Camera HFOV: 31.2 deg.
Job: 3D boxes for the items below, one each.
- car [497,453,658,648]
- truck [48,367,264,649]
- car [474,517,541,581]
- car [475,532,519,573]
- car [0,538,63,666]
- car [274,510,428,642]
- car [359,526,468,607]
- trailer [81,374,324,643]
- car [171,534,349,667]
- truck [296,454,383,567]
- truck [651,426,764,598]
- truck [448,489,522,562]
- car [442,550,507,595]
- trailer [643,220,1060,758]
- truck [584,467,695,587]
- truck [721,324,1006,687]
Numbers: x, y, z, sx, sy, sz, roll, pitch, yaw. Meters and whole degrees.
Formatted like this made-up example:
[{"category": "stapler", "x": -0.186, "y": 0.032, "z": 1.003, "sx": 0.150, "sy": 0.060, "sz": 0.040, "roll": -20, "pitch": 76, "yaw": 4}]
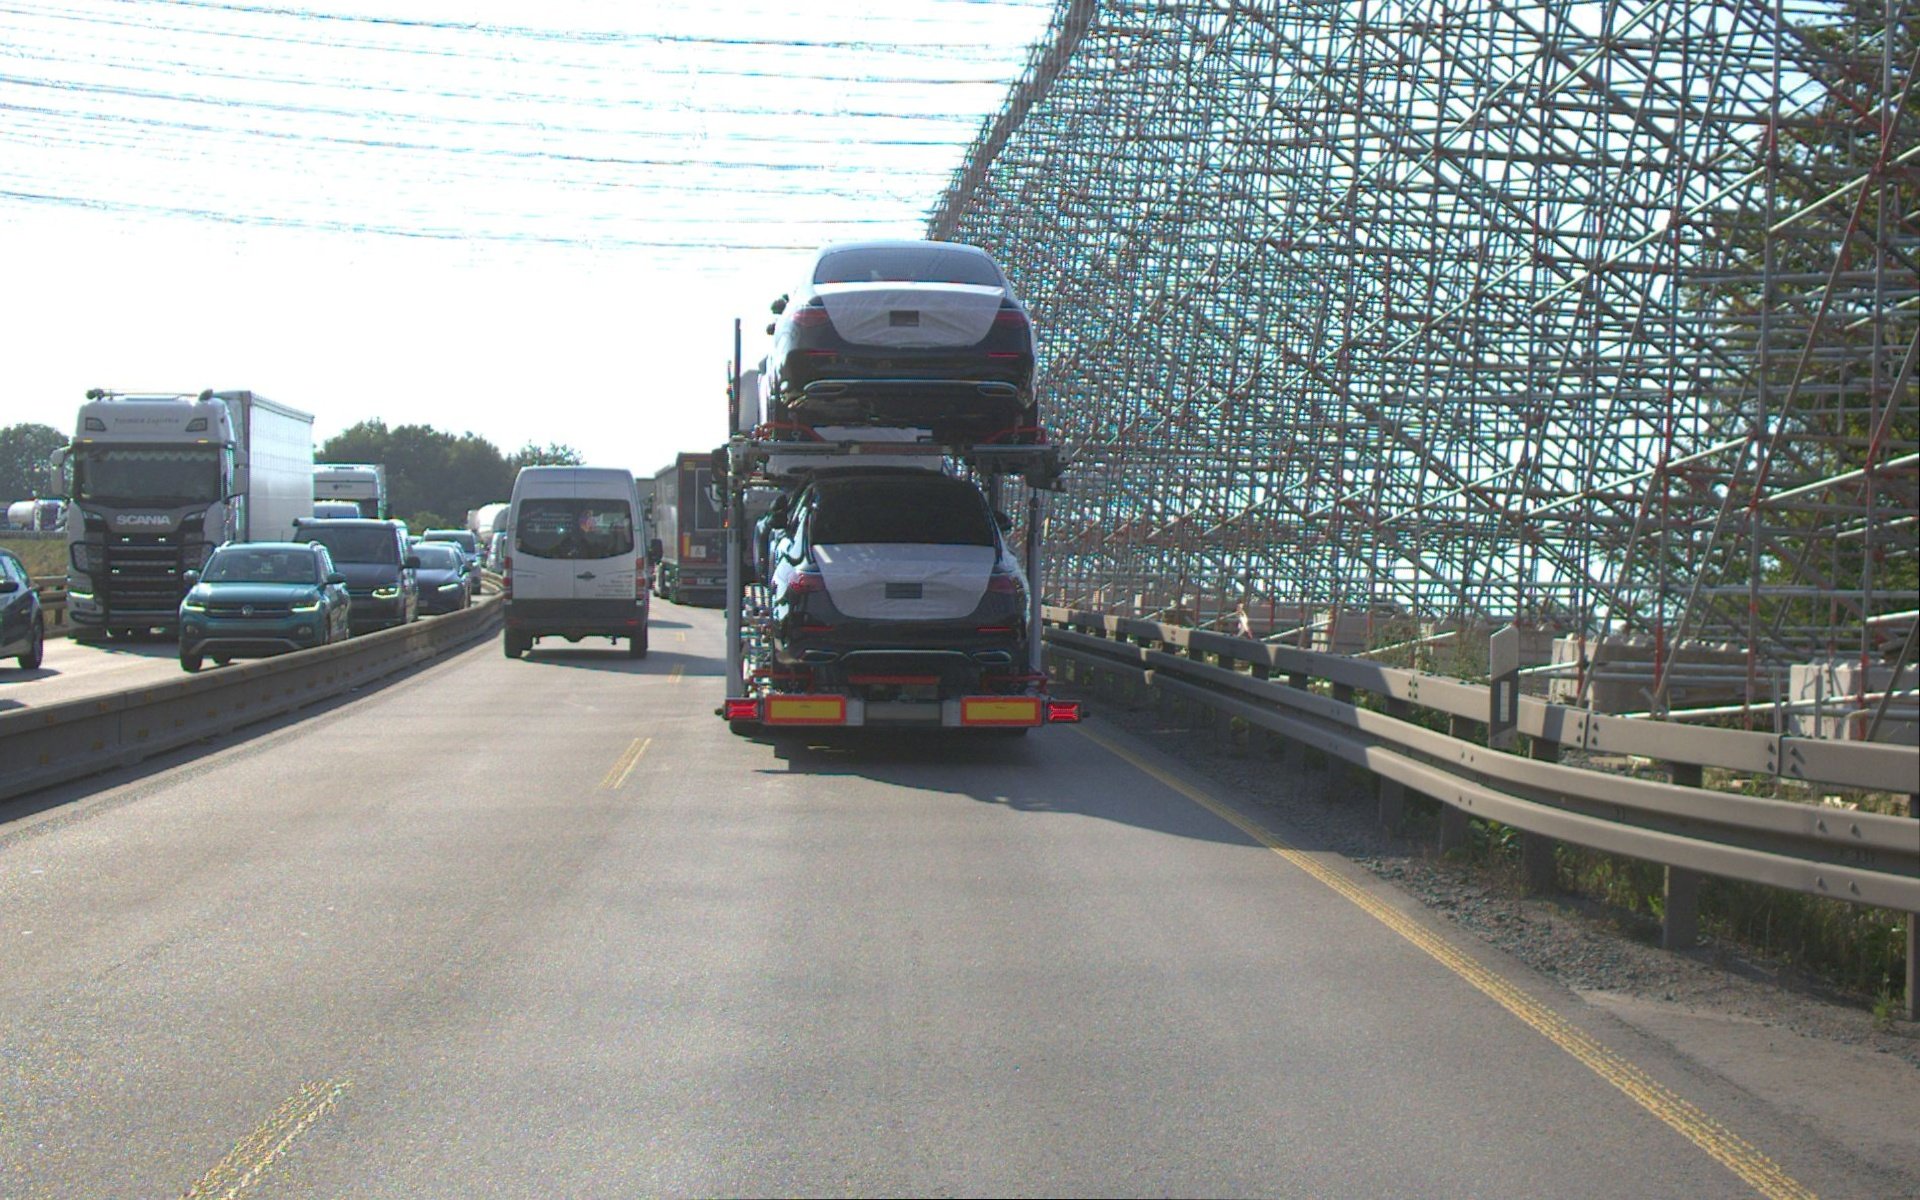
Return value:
[{"category": "car", "x": -5.406, "y": -0.667, "z": 48.187, "sx": 1.956, "sy": 2.612, "sz": 4.001, "roll": 0, "pitch": 0, "yaw": -10}, {"category": "truck", "x": -12.709, "y": -1.419, "z": 54.761, "sx": 2.662, "sy": 4.215, "sz": 6.106, "roll": 0, "pitch": 1, "yaw": -7}, {"category": "car", "x": -13.988, "y": -1.591, "z": 106.439, "sx": 1.836, "sy": 1.887, "sz": 4.001, "roll": 2, "pitch": 1, "yaw": -5}, {"category": "car", "x": -18.566, "y": -1.898, "z": 137.888, "sx": 1.710, "sy": 1.612, "sz": 3.504, "roll": 0, "pitch": 0, "yaw": -8}, {"category": "car", "x": -11.847, "y": -0.014, "z": 40.403, "sx": 1.721, "sy": 1.442, "sz": 4.139, "roll": 2, "pitch": 1, "yaw": -3}, {"category": "car", "x": -9.502, "y": -0.396, "z": 53.958, "sx": 1.874, "sy": 1.928, "sz": 4.862, "roll": 2, "pitch": 1, "yaw": -5}, {"category": "car", "x": -10.868, "y": -0.684, "z": 68.623, "sx": 1.784, "sy": 1.497, "sz": 4.755, "roll": 2, "pitch": 1, "yaw": -5}, {"category": "trailer", "x": -13.410, "y": -1.594, "z": 61.989, "sx": 2.653, "sy": 4.219, "sz": 13.923, "roll": 2, "pitch": 1, "yaw": -6}, {"category": "car", "x": -8.676, "y": -0.027, "z": 42.899, "sx": 1.742, "sy": 1.529, "sz": 4.268, "roll": 1, "pitch": 1, "yaw": -6}, {"category": "truck", "x": -20.559, "y": -2.940, "z": 113.900, "sx": 2.594, "sy": 3.461, "sz": 12.396, "roll": 2, "pitch": 1, "yaw": -10}, {"category": "truck", "x": -7.057, "y": -2.394, "z": 94.793, "sx": 2.731, "sy": 4.370, "sz": 11.524, "roll": 1, "pitch": 1, "yaw": -6}, {"category": "truck", "x": -25.330, "y": -3.951, "z": 182.902, "sx": 2.615, "sy": 3.711, "sz": 9.662, "roll": 2, "pitch": 1, "yaw": -15}, {"category": "car", "x": -16.588, "y": -0.950, "z": 117.359, "sx": 1.836, "sy": 1.448, "sz": 4.001, "roll": 2, "pitch": 1, "yaw": -13}, {"category": "trailer", "x": -0.915, "y": -0.829, "z": 31.393, "sx": 2.869, "sy": 3.712, "sz": 14.948, "roll": 1, "pitch": 0, "yaw": -1}, {"category": "truck", "x": -12.127, "y": -2.773, "z": 131.412, "sx": 3.686, "sy": 4.206, "sz": 13.670, "roll": -2, "pitch": 1, "yaw": -4}, {"category": "truck", "x": -1.084, "y": -0.993, "z": 38.875, "sx": 2.881, "sy": 3.690, "sz": 7.326, "roll": 1, "pitch": 0, "yaw": -2}]
